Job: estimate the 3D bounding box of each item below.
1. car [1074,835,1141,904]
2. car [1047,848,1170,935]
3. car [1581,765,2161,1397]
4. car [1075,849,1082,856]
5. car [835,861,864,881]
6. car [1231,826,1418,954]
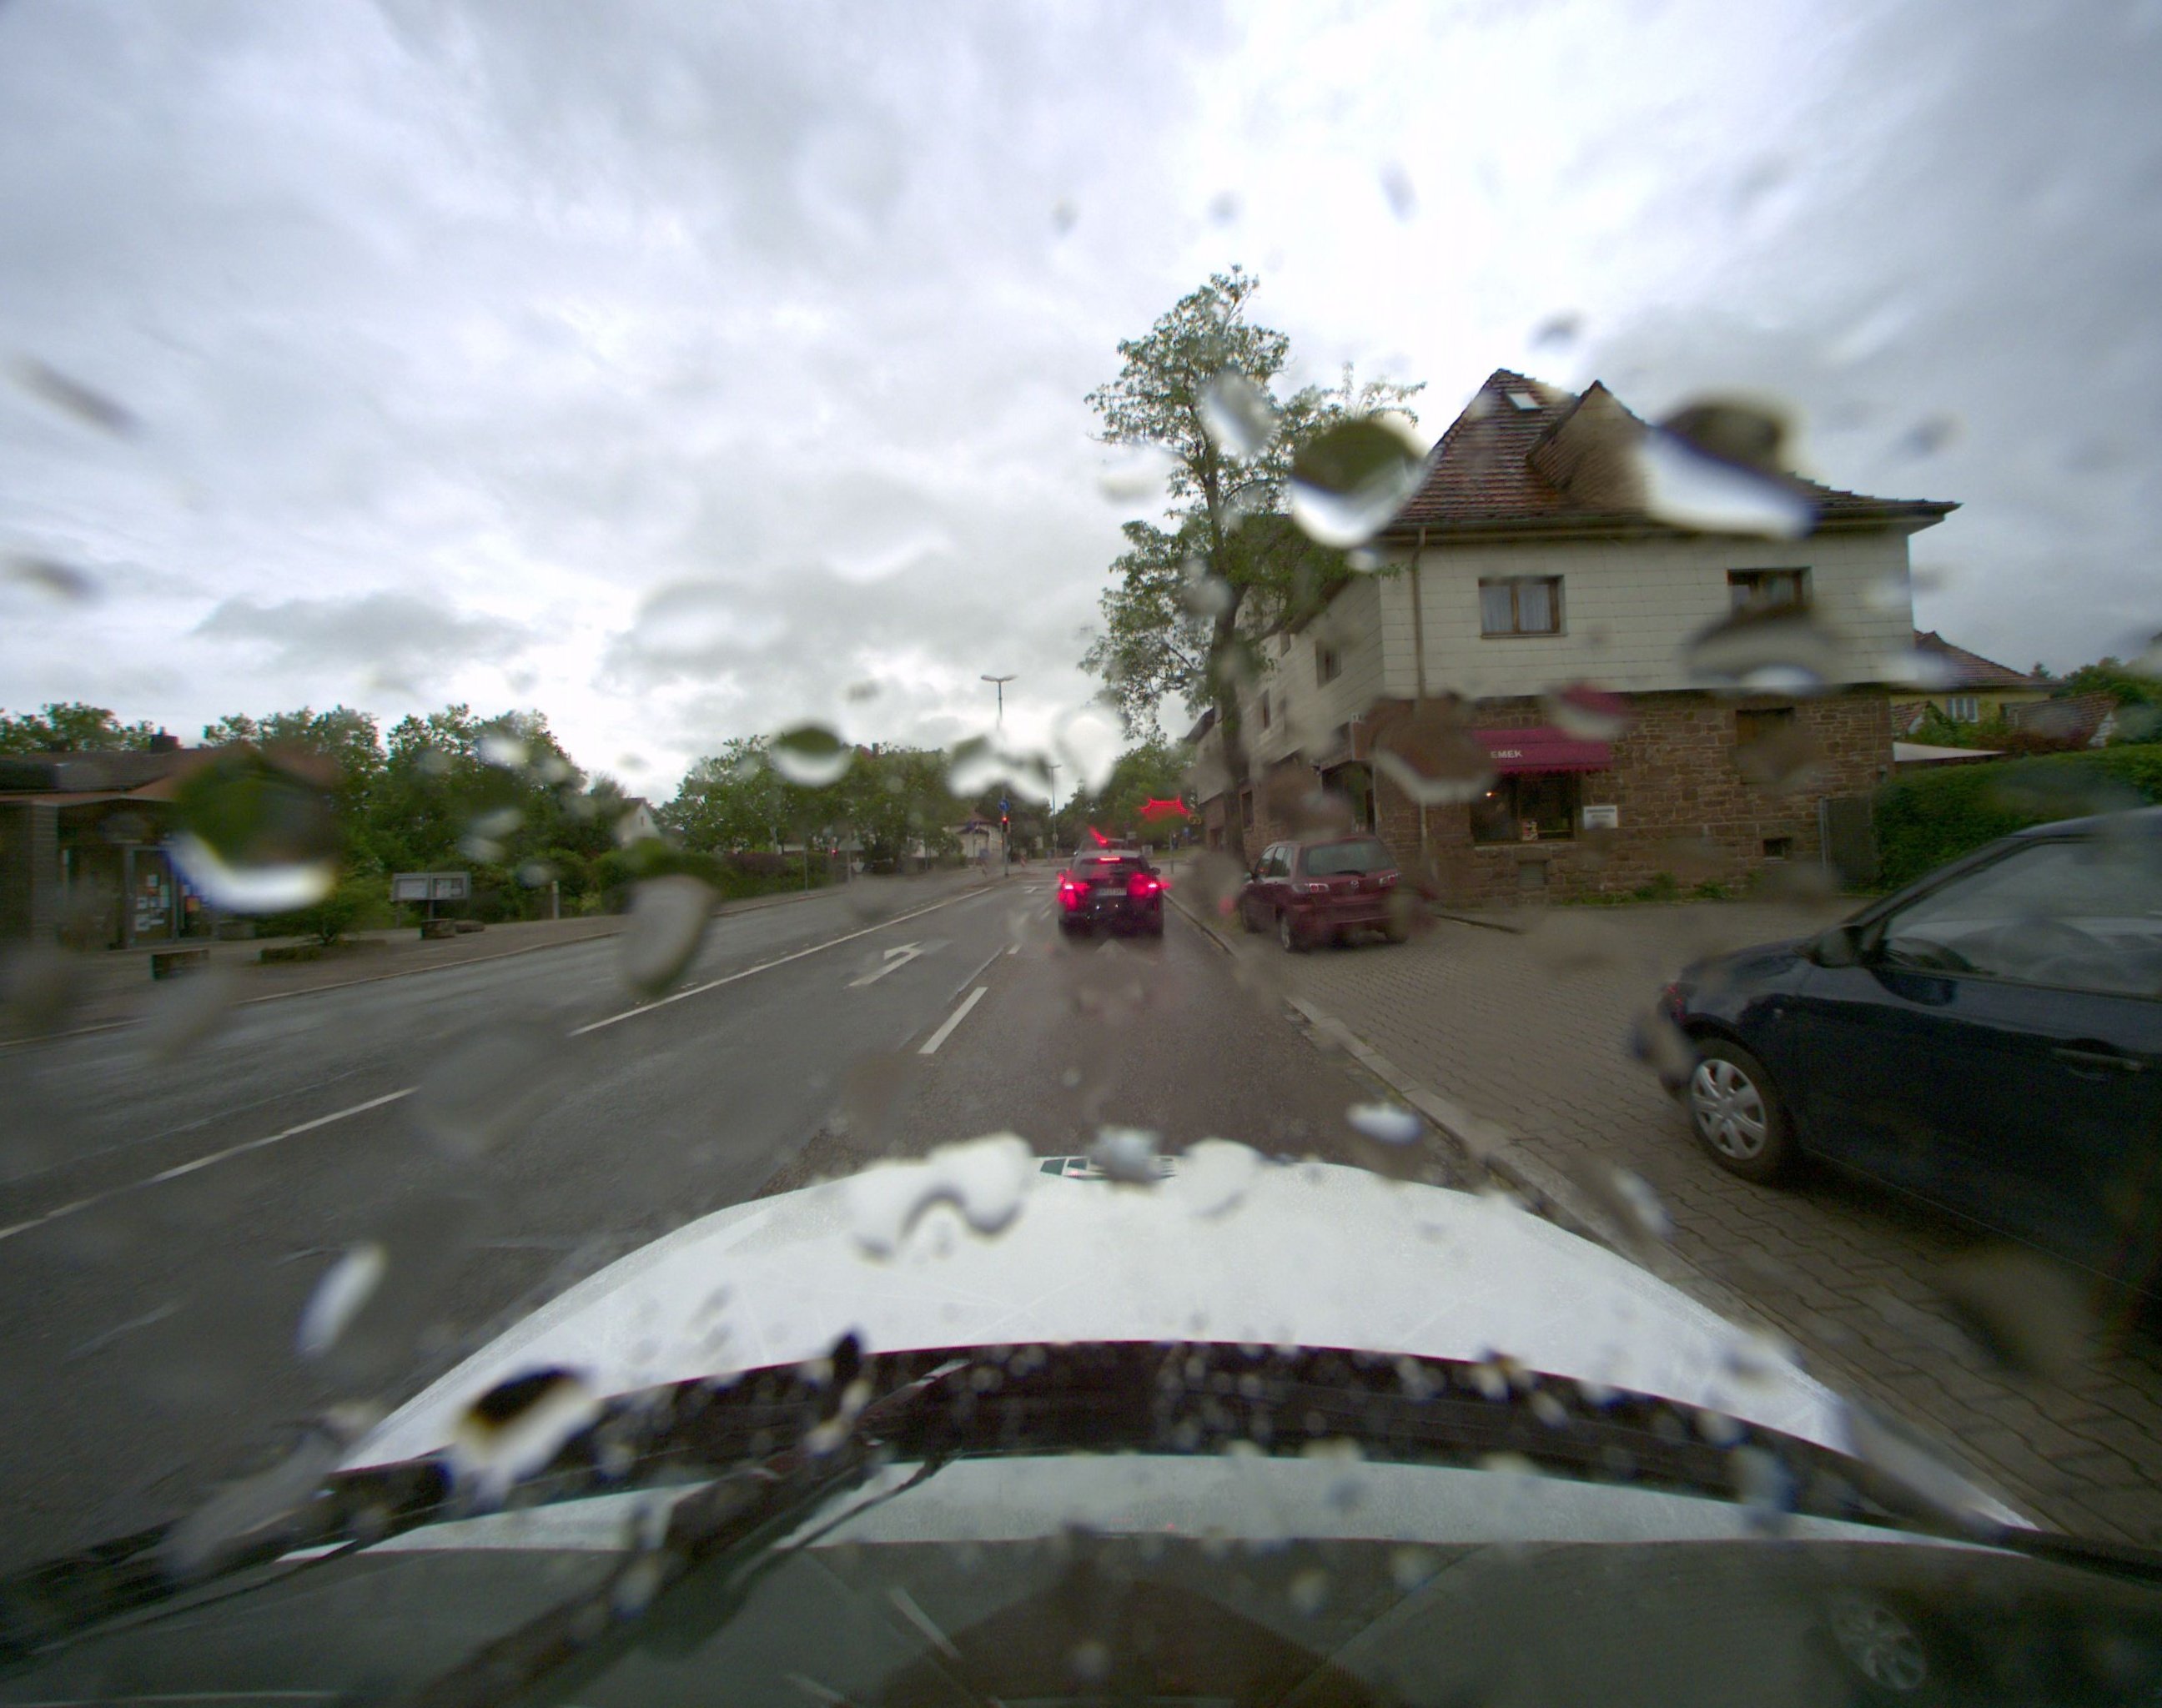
[{"bbox_3d":[0.727,0.408,24.337,1.778,1.817,4.000,-2,0,0],"label":"car"},{"bbox_3d":[0.461,0.629,16.033,2.058,1.446,4.482,-1,0,0],"label":"car"},{"bbox_3d":[3.314,0.482,2.182,1.598,1.472,3.858,-5,0,2],"label":"car"},{"bbox_3d":[-0.552,-0.236,170.930,1.459,1.398,3.322,-2,0,1],"label":"car"},{"bbox_3d":[-19.274,1.379,67.683,2.000,1.552,3.974,-2,1,-19],"label":"car"},{"bbox_3d":[3.414,0.427,12.124,1.579,1.490,3.627,-5,1,0],"label":"car"}]
